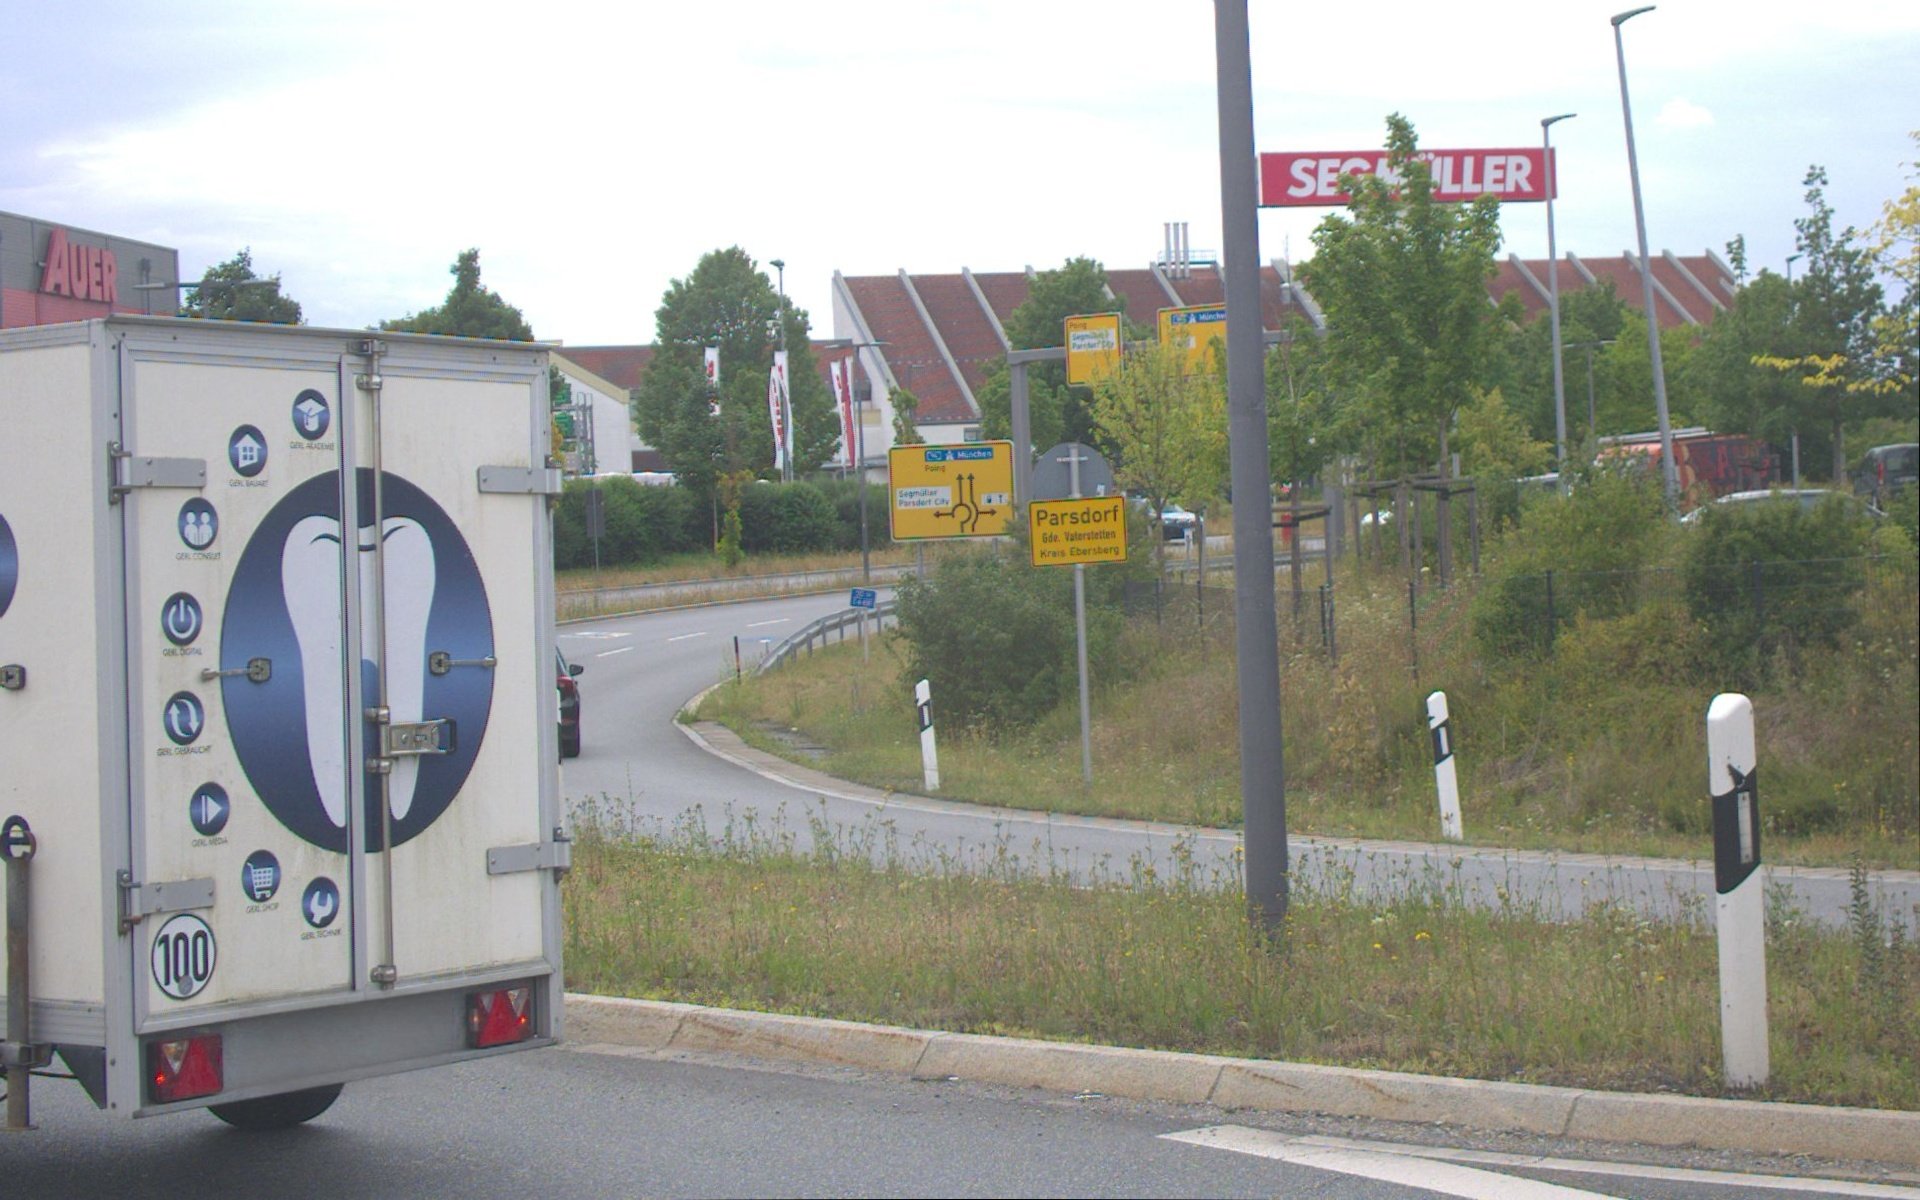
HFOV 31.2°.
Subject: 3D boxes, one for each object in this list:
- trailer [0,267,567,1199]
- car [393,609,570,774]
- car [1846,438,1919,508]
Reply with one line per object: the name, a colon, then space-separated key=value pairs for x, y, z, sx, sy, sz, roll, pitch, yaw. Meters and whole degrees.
trailer: x=-3.249 y=0.355 z=9.203 sx=4.140 sy=2.084 sz=1.809 roll=-1 pitch=0 yaw=34
car: x=-5.840 y=1.079 z=42.324 sx=1.869 sy=1.599 sz=3.736 roll=-4 pitch=4 yaw=-5
car: x=25.775 y=-3.508 z=94.881 sx=1.700 sy=1.805 sz=3.970 roll=-5 pitch=1 yaw=4
